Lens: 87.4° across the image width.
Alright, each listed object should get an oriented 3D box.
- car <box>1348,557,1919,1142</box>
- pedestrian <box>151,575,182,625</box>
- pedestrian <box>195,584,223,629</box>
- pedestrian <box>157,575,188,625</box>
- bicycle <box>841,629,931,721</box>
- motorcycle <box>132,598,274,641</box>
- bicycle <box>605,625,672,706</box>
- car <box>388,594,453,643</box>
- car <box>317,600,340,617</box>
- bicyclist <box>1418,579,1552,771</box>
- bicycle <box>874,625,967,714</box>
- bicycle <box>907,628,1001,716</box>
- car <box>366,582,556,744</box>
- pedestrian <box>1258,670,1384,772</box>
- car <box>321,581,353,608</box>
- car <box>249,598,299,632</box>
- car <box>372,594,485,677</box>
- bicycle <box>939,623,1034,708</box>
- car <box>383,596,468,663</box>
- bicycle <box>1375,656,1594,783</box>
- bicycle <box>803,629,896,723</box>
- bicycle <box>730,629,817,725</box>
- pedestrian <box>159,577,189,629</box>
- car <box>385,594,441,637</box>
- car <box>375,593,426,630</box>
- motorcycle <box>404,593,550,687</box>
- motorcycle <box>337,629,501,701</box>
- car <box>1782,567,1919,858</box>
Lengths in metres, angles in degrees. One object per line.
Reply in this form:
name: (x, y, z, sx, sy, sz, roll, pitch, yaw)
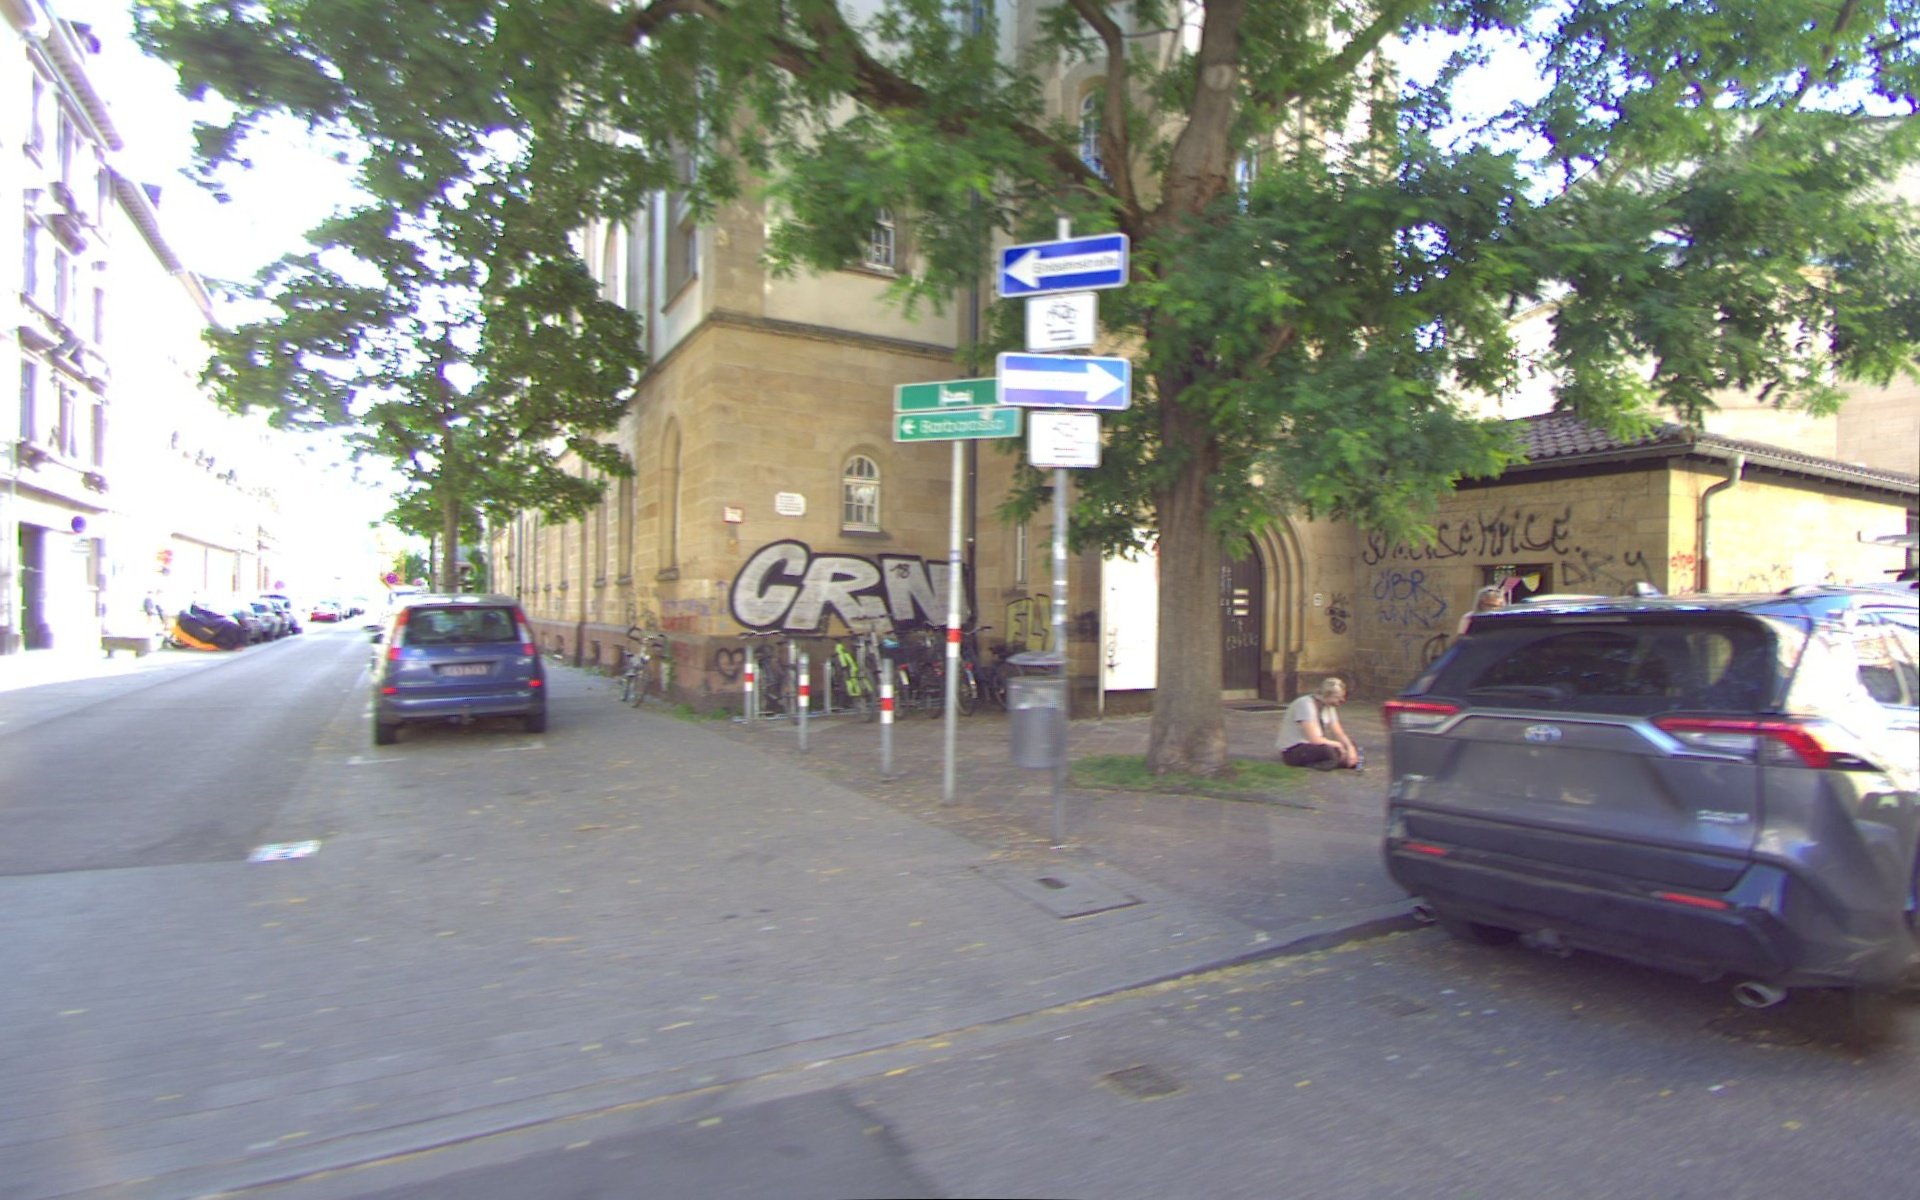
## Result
car: (3.933, 0.755, 4.740, 4.241, 1.668, 1.731, 1, -1, -32)
pedestrian: (-29.181, -0.002, 36.958, 0.713, 1.782, 0.707, 2, 3, -24)
pedestrian: (-27.507, 0.246, 36.775, 0.703, 1.588, 0.718, 2, 3, -29)
pedestrian: (-29.540, -0.001, 37.679, 0.713, 1.782, 0.707, 2, 3, -24)
bicycle: (-0.998, 0.942, 13.134, 0.472, 1.068, 1.767, 1, 0, -29)
motorcycle: (-22.167, 0.579, 29.496, 2.999, 1.076, 1.336, 3, -2, -6)
bicycle: (-4.748, 0.923, 14.763, 0.527, 1.068, 2.063, 1, 0, -29)
car: (-17.362, 0.557, 32.260, 1.711, 1.439, 4.106, 1, 0, -30)
car: (-45.697, 0.585, 72.681, 1.369, 1.178, 3.297, 1, -1, -32)
bicyclist: (5.063, 0.695, 9.723, 0.682, 1.746, 0.803, 2, 3, -21)
bicycle: (-0.556, 0.889, 13.397, 0.472, 1.068, 1.767, 1, 0, -29)
bicycle: (-0.116, 0.939, 13.668, 0.472, 1.068, 1.767, 1, 0, -29)
car: (-6.106, 0.604, 12.173, 1.749, 1.620, 3.969, -1, 1, -29)
pedestrian: (3.265, 1.066, 9.086, 0.904, 0.788, 0.700, 1, -1, 37)
car: (-52.703, -0.455, 85.016, 2.029, 2.132, 4.605, 1, 1, -29)
car: (-24.975, 0.521, 36.650, 1.369, 1.178, 3.297, 1, -1, -32)
car: (-10.609, 0.633, 19.938, 1.775, 1.439, 4.244, 1, 0, -30)
bicycle: (0.339, 0.875, 13.958, 0.472, 1.068, 1.767, 1, 0, -29)
car: (-13.332, 0.681, 24.954, 1.711, 1.480, 4.244, 1, 0, -30)
bicycle: (5.020, 1.102, 9.762, 0.814, 0.935, 1.758, 1, 2, -21)
bicycle: (-1.442, 0.930, 12.866, 0.527, 1.068, 1.767, 1, 0, -29)
bicycle: (-2.352, 0.914, 12.518, 0.527, 1.068, 1.767, 1, 0, -29)
pedestrian: (-27.859, 0.100, 35.612, 0.703, 1.782, 0.718, 2, 3, -29)
car: (-20.154, 0.543, 36.937, 1.711, 1.439, 3.890, 1, 0, -30)
car: (-22.930, 0.446, 41.150, 1.711, 1.439, 3.890, 1, 0, -30)
motorcycle: (-7.818, 0.637, 16.302, 2.080, 1.439, 0.656, 1, 0, -31)
motorcycle: (-7.920, 0.935, 14.769, 2.080, 0.988, 0.566, 1, 0, -31)
car: (8.231, 0.760, 7.419, 4.410, 1.887, 1.838, 1, 0, -29)
